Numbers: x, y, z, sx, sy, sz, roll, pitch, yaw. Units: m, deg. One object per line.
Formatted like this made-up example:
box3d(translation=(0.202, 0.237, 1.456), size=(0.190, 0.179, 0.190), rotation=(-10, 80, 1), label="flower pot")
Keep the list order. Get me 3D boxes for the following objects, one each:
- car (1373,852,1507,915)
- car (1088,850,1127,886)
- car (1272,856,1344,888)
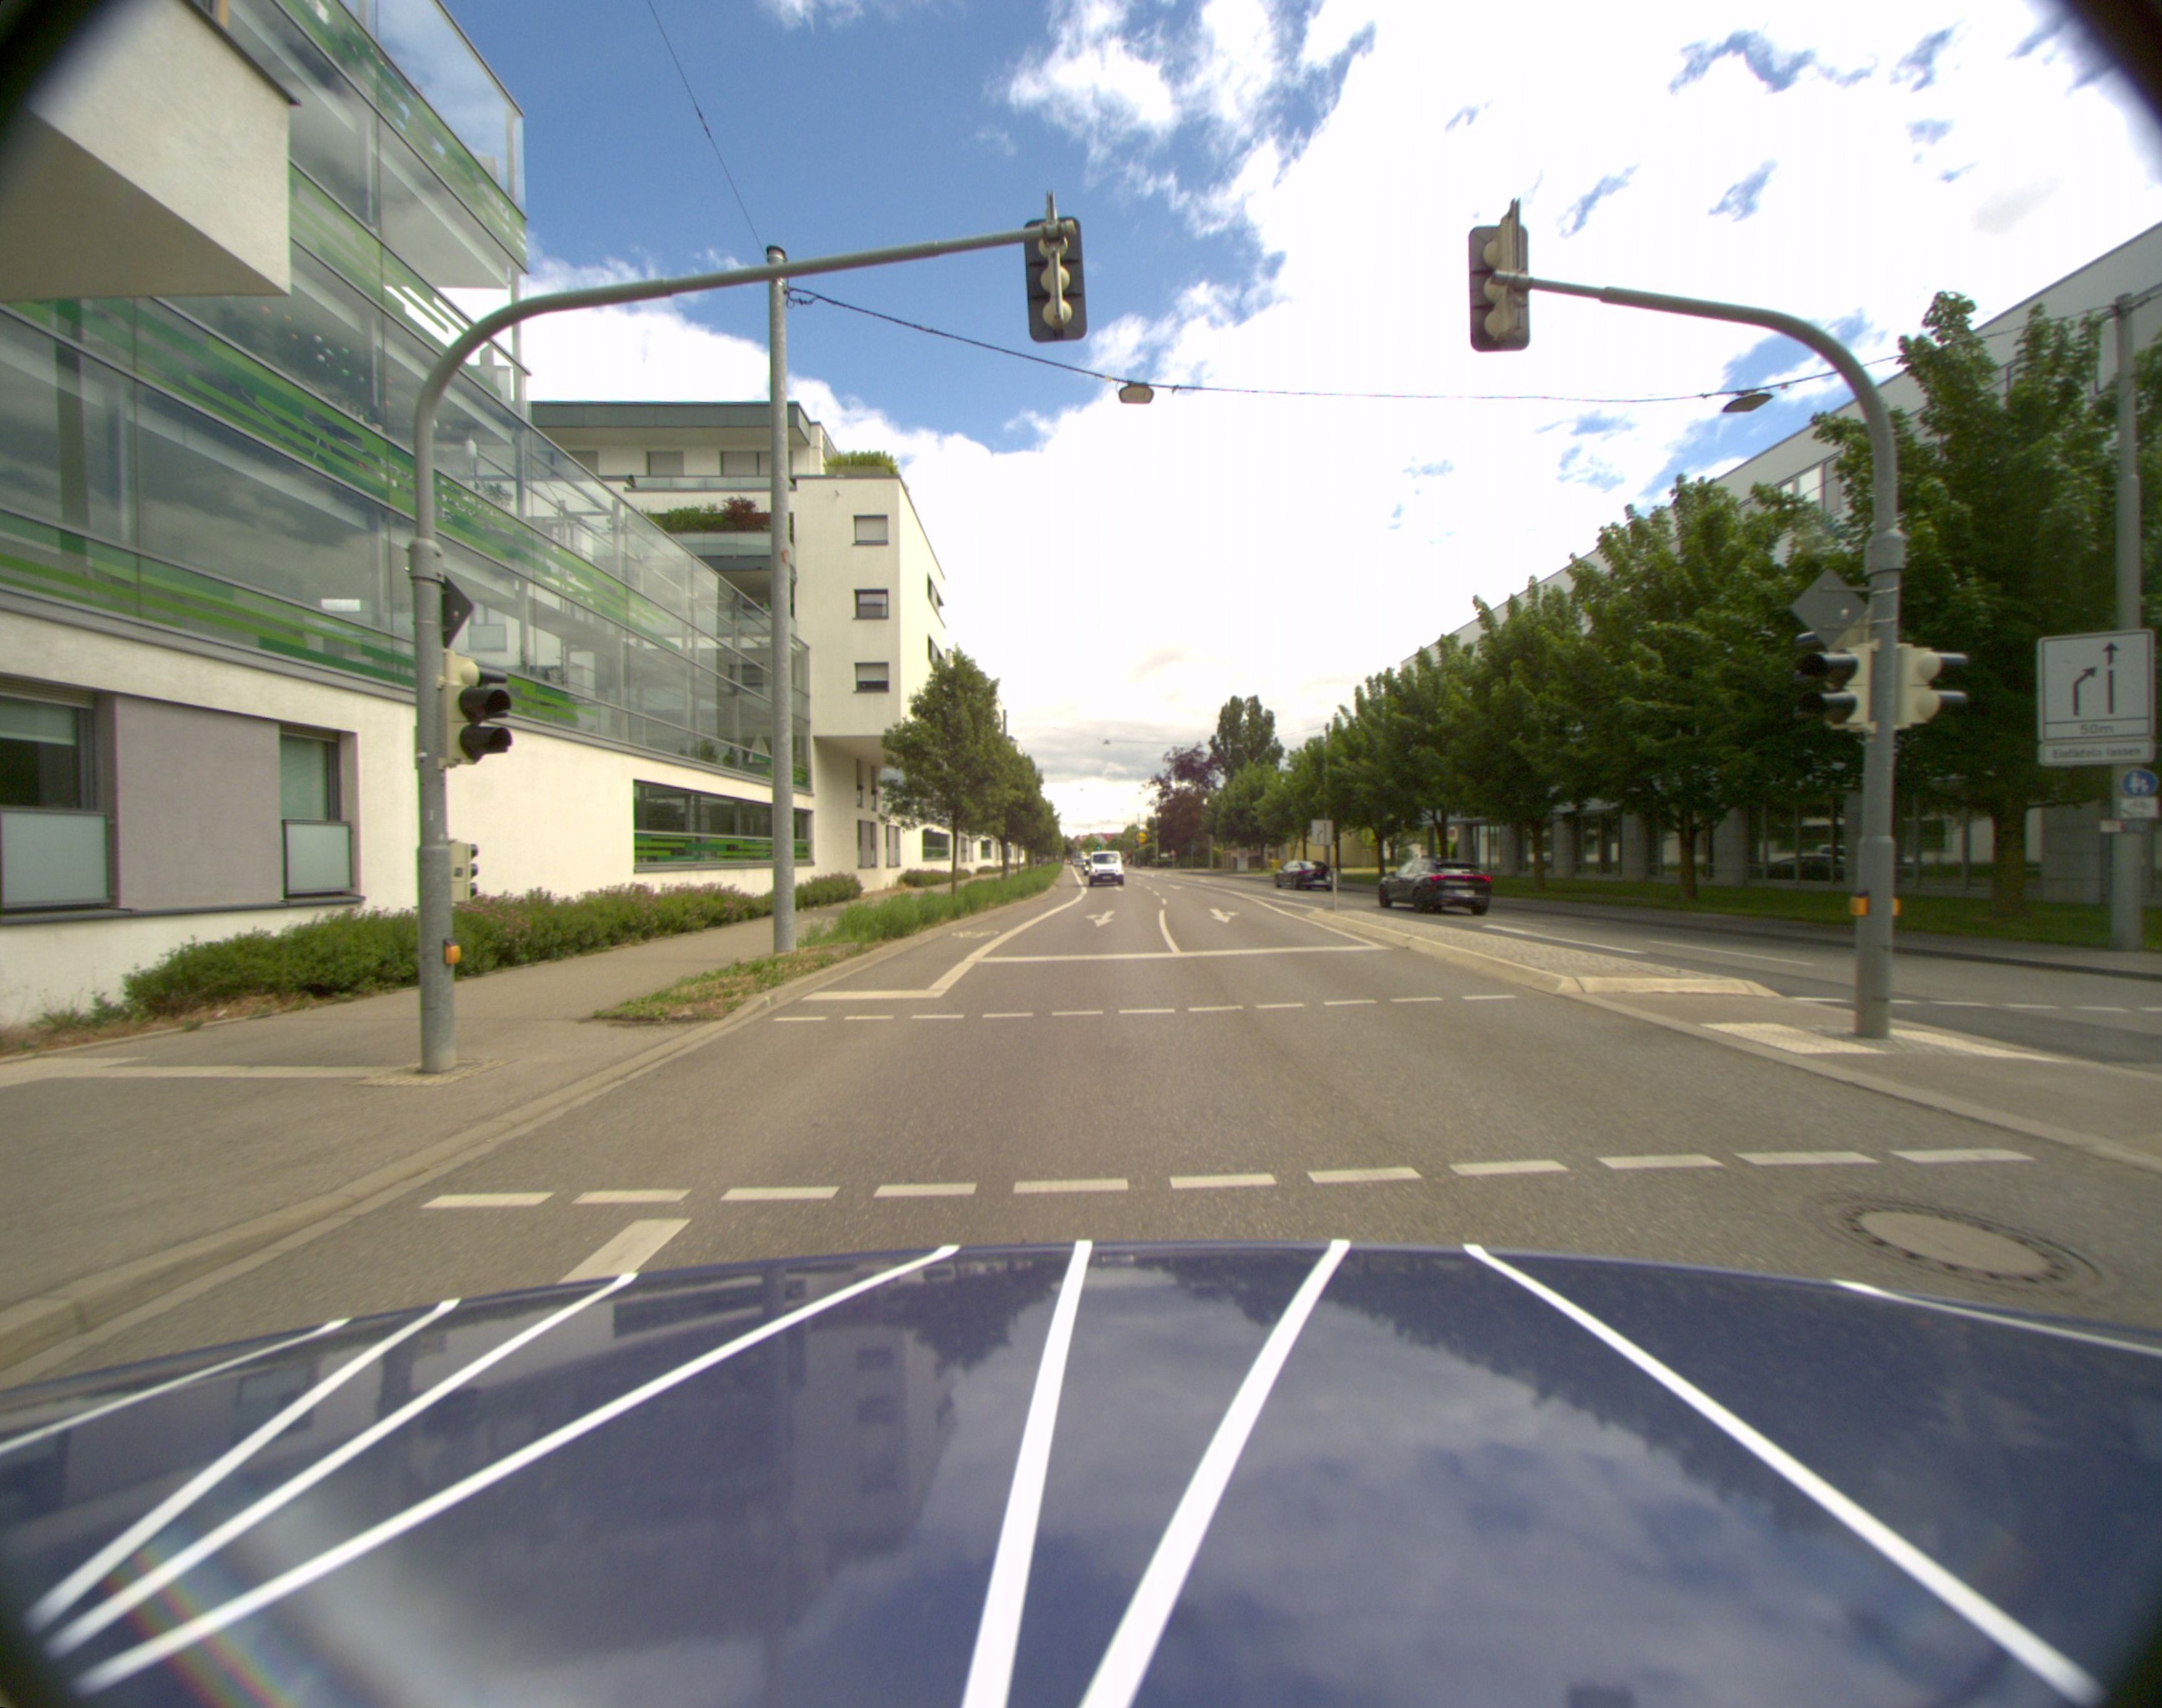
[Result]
box3d(translation=(10.098, 0.754, 21.827), size=(1.889, 1.543, 4.540), rotation=(0, 1, 3), label="car")
box3d(translation=(1.514, 0.764, 44.378), size=(1.999, 1.905, 3.999), rotation=(-2, 1, -1), label="car")
box3d(translation=(11.424, 0.854, 38.655), size=(2.029, 1.437, 5.048), rotation=(1, 1, -1), label="car")
